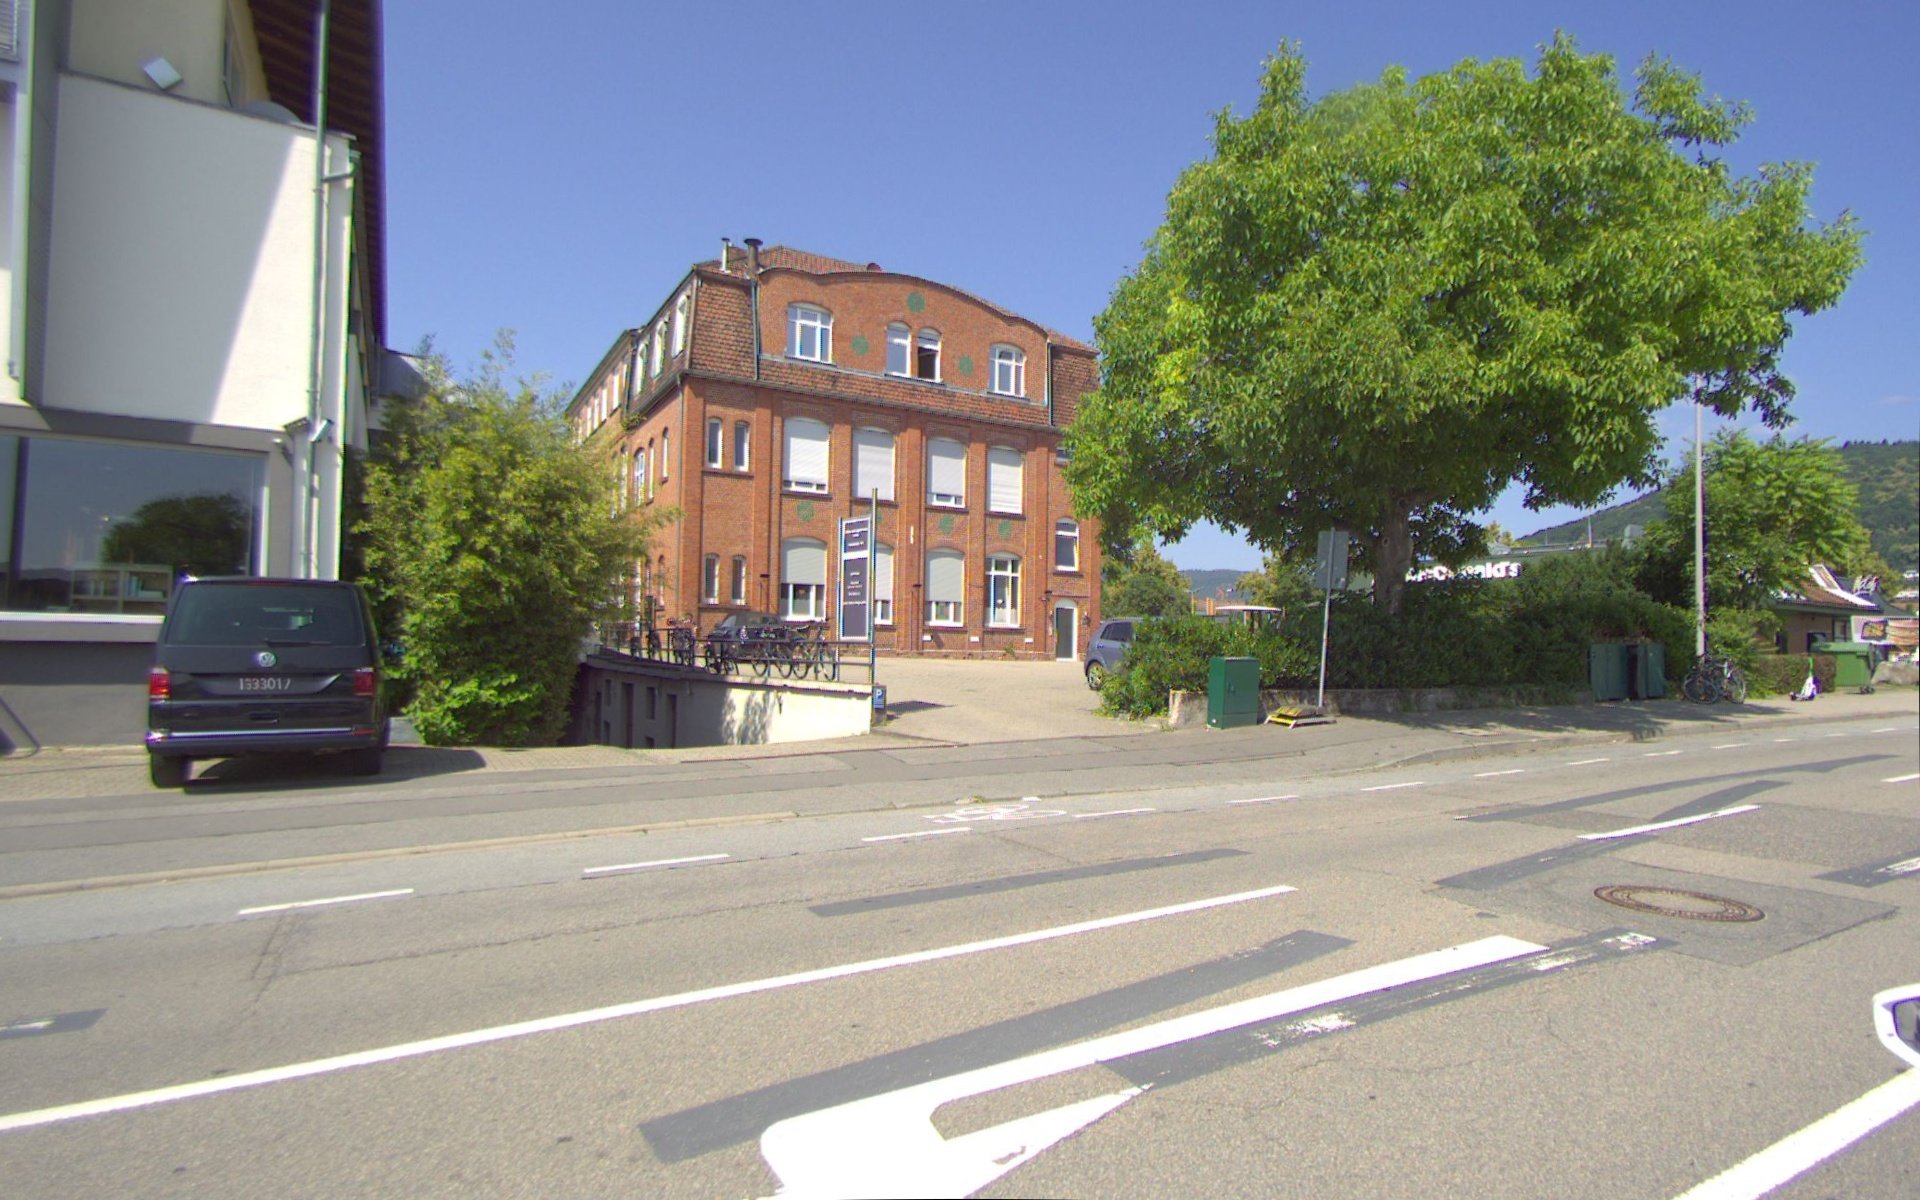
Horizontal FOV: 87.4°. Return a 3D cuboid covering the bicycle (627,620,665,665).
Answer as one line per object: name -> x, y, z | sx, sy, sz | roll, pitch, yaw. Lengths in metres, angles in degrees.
bicycle -> -8.409, 1.120, 26.883 | 0.509, 1.115, 1.621 | 1, 1, -34

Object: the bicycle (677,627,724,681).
bicycle -> -5.877, 1.192, 22.691 | 0.509, 1.115, 1.621 | 1, 1, -34

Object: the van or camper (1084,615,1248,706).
van or camper -> 4.247, 1.190, 21.115 | 1.613, 1.687, 3.378 | 1, 0, -28

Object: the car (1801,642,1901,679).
car -> 38.670, 2.604, 43.582 | 4.078, 1.435, 1.985 | 1, 0, -28

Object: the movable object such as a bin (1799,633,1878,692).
movable object such as a bin -> 24.942, 1.757, 28.527 | 1.296, 1.611, 1.437 | 1, -3, -38

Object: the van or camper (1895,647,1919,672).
van or camper -> 64.616, 3.997, 66.461 | 3.943, 1.595, 1.989 | 1, 0, 43

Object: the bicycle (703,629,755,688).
bicycle -> -4.876, 1.210, 21.172 | 0.509, 1.115, 1.621 | 1, 1, -34

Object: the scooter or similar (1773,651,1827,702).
scooter or similar -> 20.657, 1.868, 24.706 | 1.608, 1.143, 0.642 | 1, 1, -37

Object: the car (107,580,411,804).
car -> -7.293, 0.833, 11.000 | 2.066, 1.890, 4.550 | 1, -1, -27

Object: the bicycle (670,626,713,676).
bicycle -> -6.541, 1.216, 24.408 | 0.509, 1.115, 1.621 | 1, 1, -34

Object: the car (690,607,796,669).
car -> -6.384, 1.081, 29.275 | 1.609, 1.557, 3.962 | 3, -1, -34

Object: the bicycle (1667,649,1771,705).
bicycle -> 17.349, 1.732, 22.929 | 2.736, 1.133, 1.021 | 1, 0, -33
